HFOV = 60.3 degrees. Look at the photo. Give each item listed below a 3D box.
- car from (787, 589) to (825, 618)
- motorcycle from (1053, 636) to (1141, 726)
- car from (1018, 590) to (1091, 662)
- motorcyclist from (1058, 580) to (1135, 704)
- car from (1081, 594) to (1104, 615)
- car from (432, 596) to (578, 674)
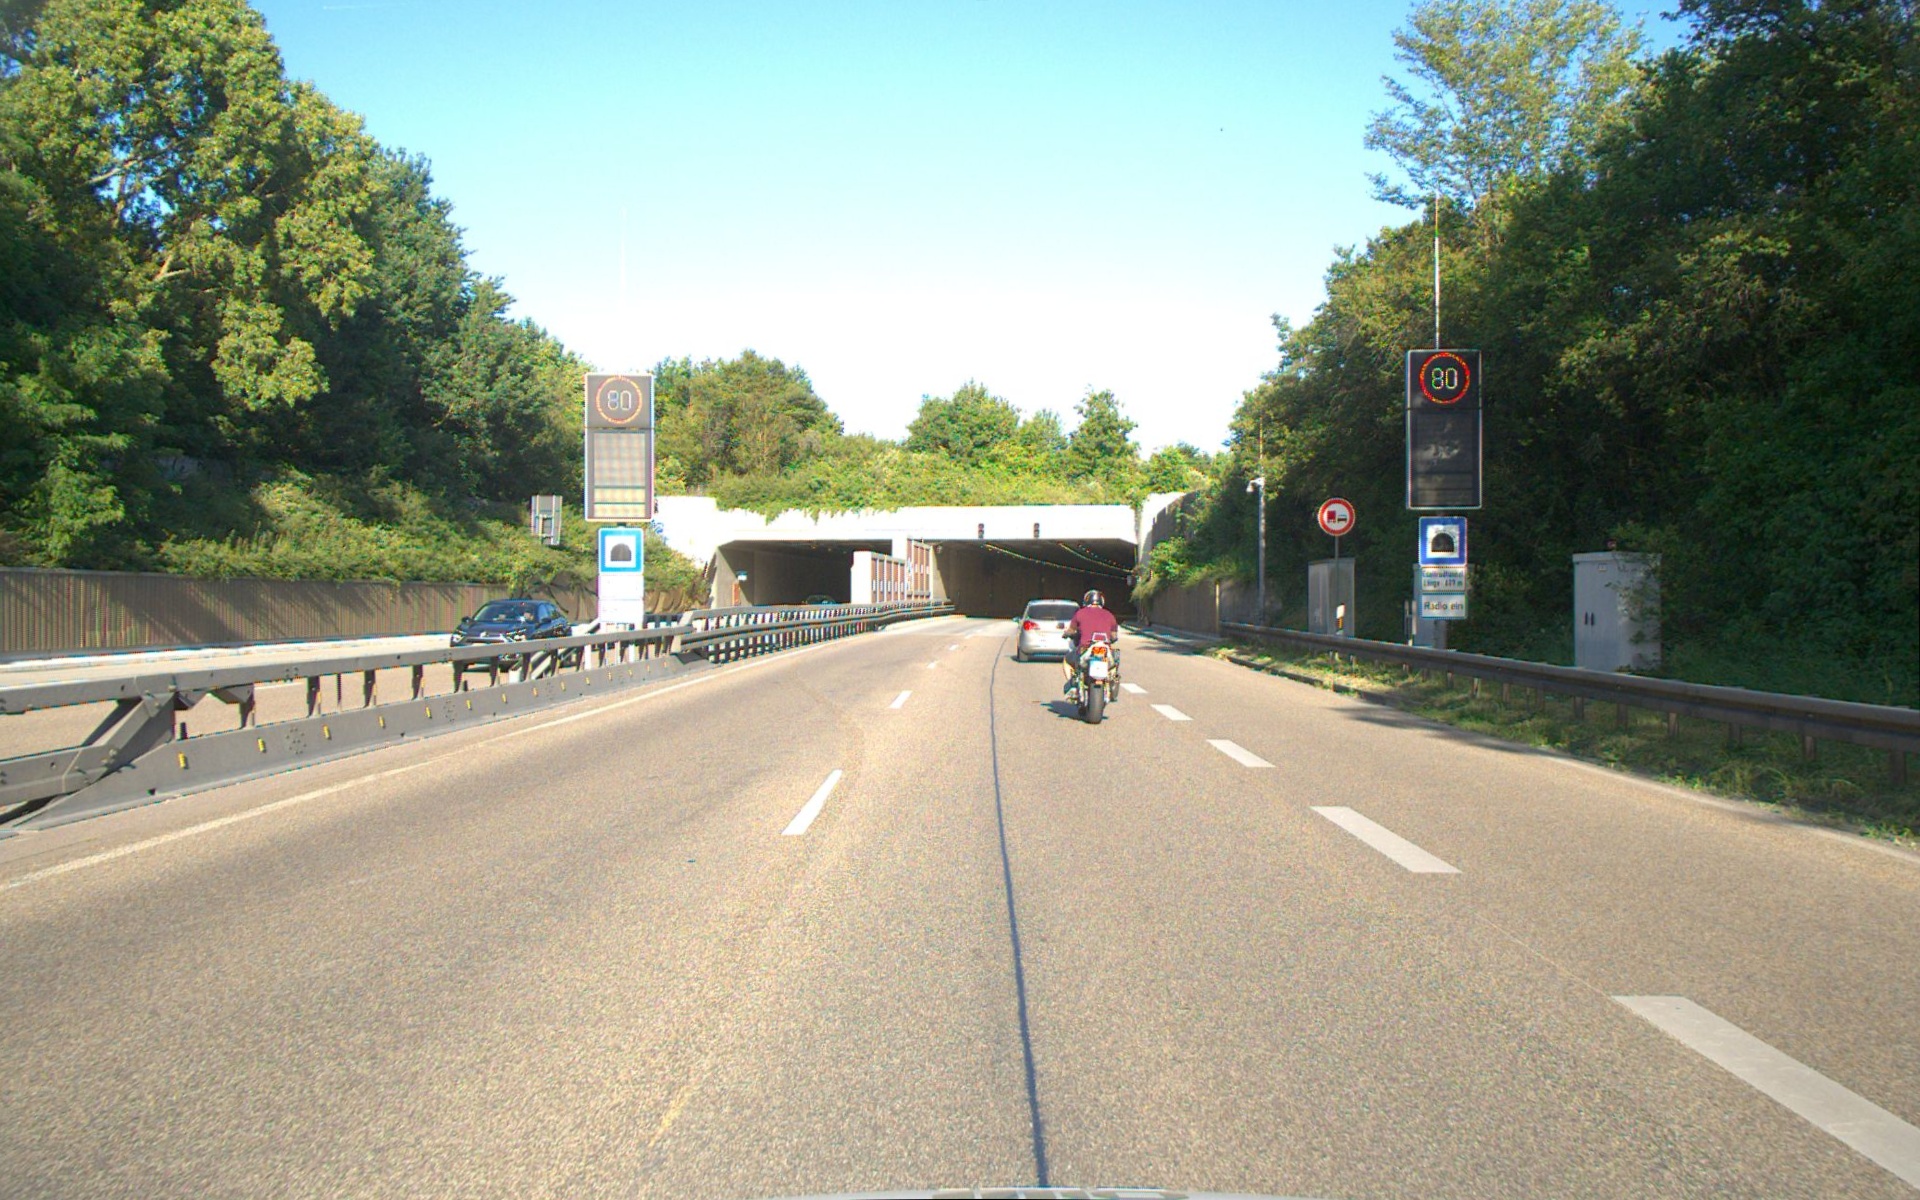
[{"bbox_3d":[-9.767,0.186,105.264,1.632,1.704,4.866,1,1,4],"label":"car"},{"bbox_3d":[1.718,0.999,21.178,0.841,1.009,2.728,1,0,-1],"label":"motorcycle"},{"bbox_3d":[2.271,0.592,40.418,1.632,1.579,4.001,1,1,2],"label":"car"},{"bbox_3d":[1.731,0.519,21.180,0.865,1.527,1.063,1,1,0],"label":"motorcyclist"},{"bbox_3d":[13.179,0.426,163.907,1.951,1.959,4.004,0,1,9],"label":"car"},{"bbox_3d":[-9.882,0.720,36.287,1.952,1.512,4.201,0,1,1],"label":"car"}]
